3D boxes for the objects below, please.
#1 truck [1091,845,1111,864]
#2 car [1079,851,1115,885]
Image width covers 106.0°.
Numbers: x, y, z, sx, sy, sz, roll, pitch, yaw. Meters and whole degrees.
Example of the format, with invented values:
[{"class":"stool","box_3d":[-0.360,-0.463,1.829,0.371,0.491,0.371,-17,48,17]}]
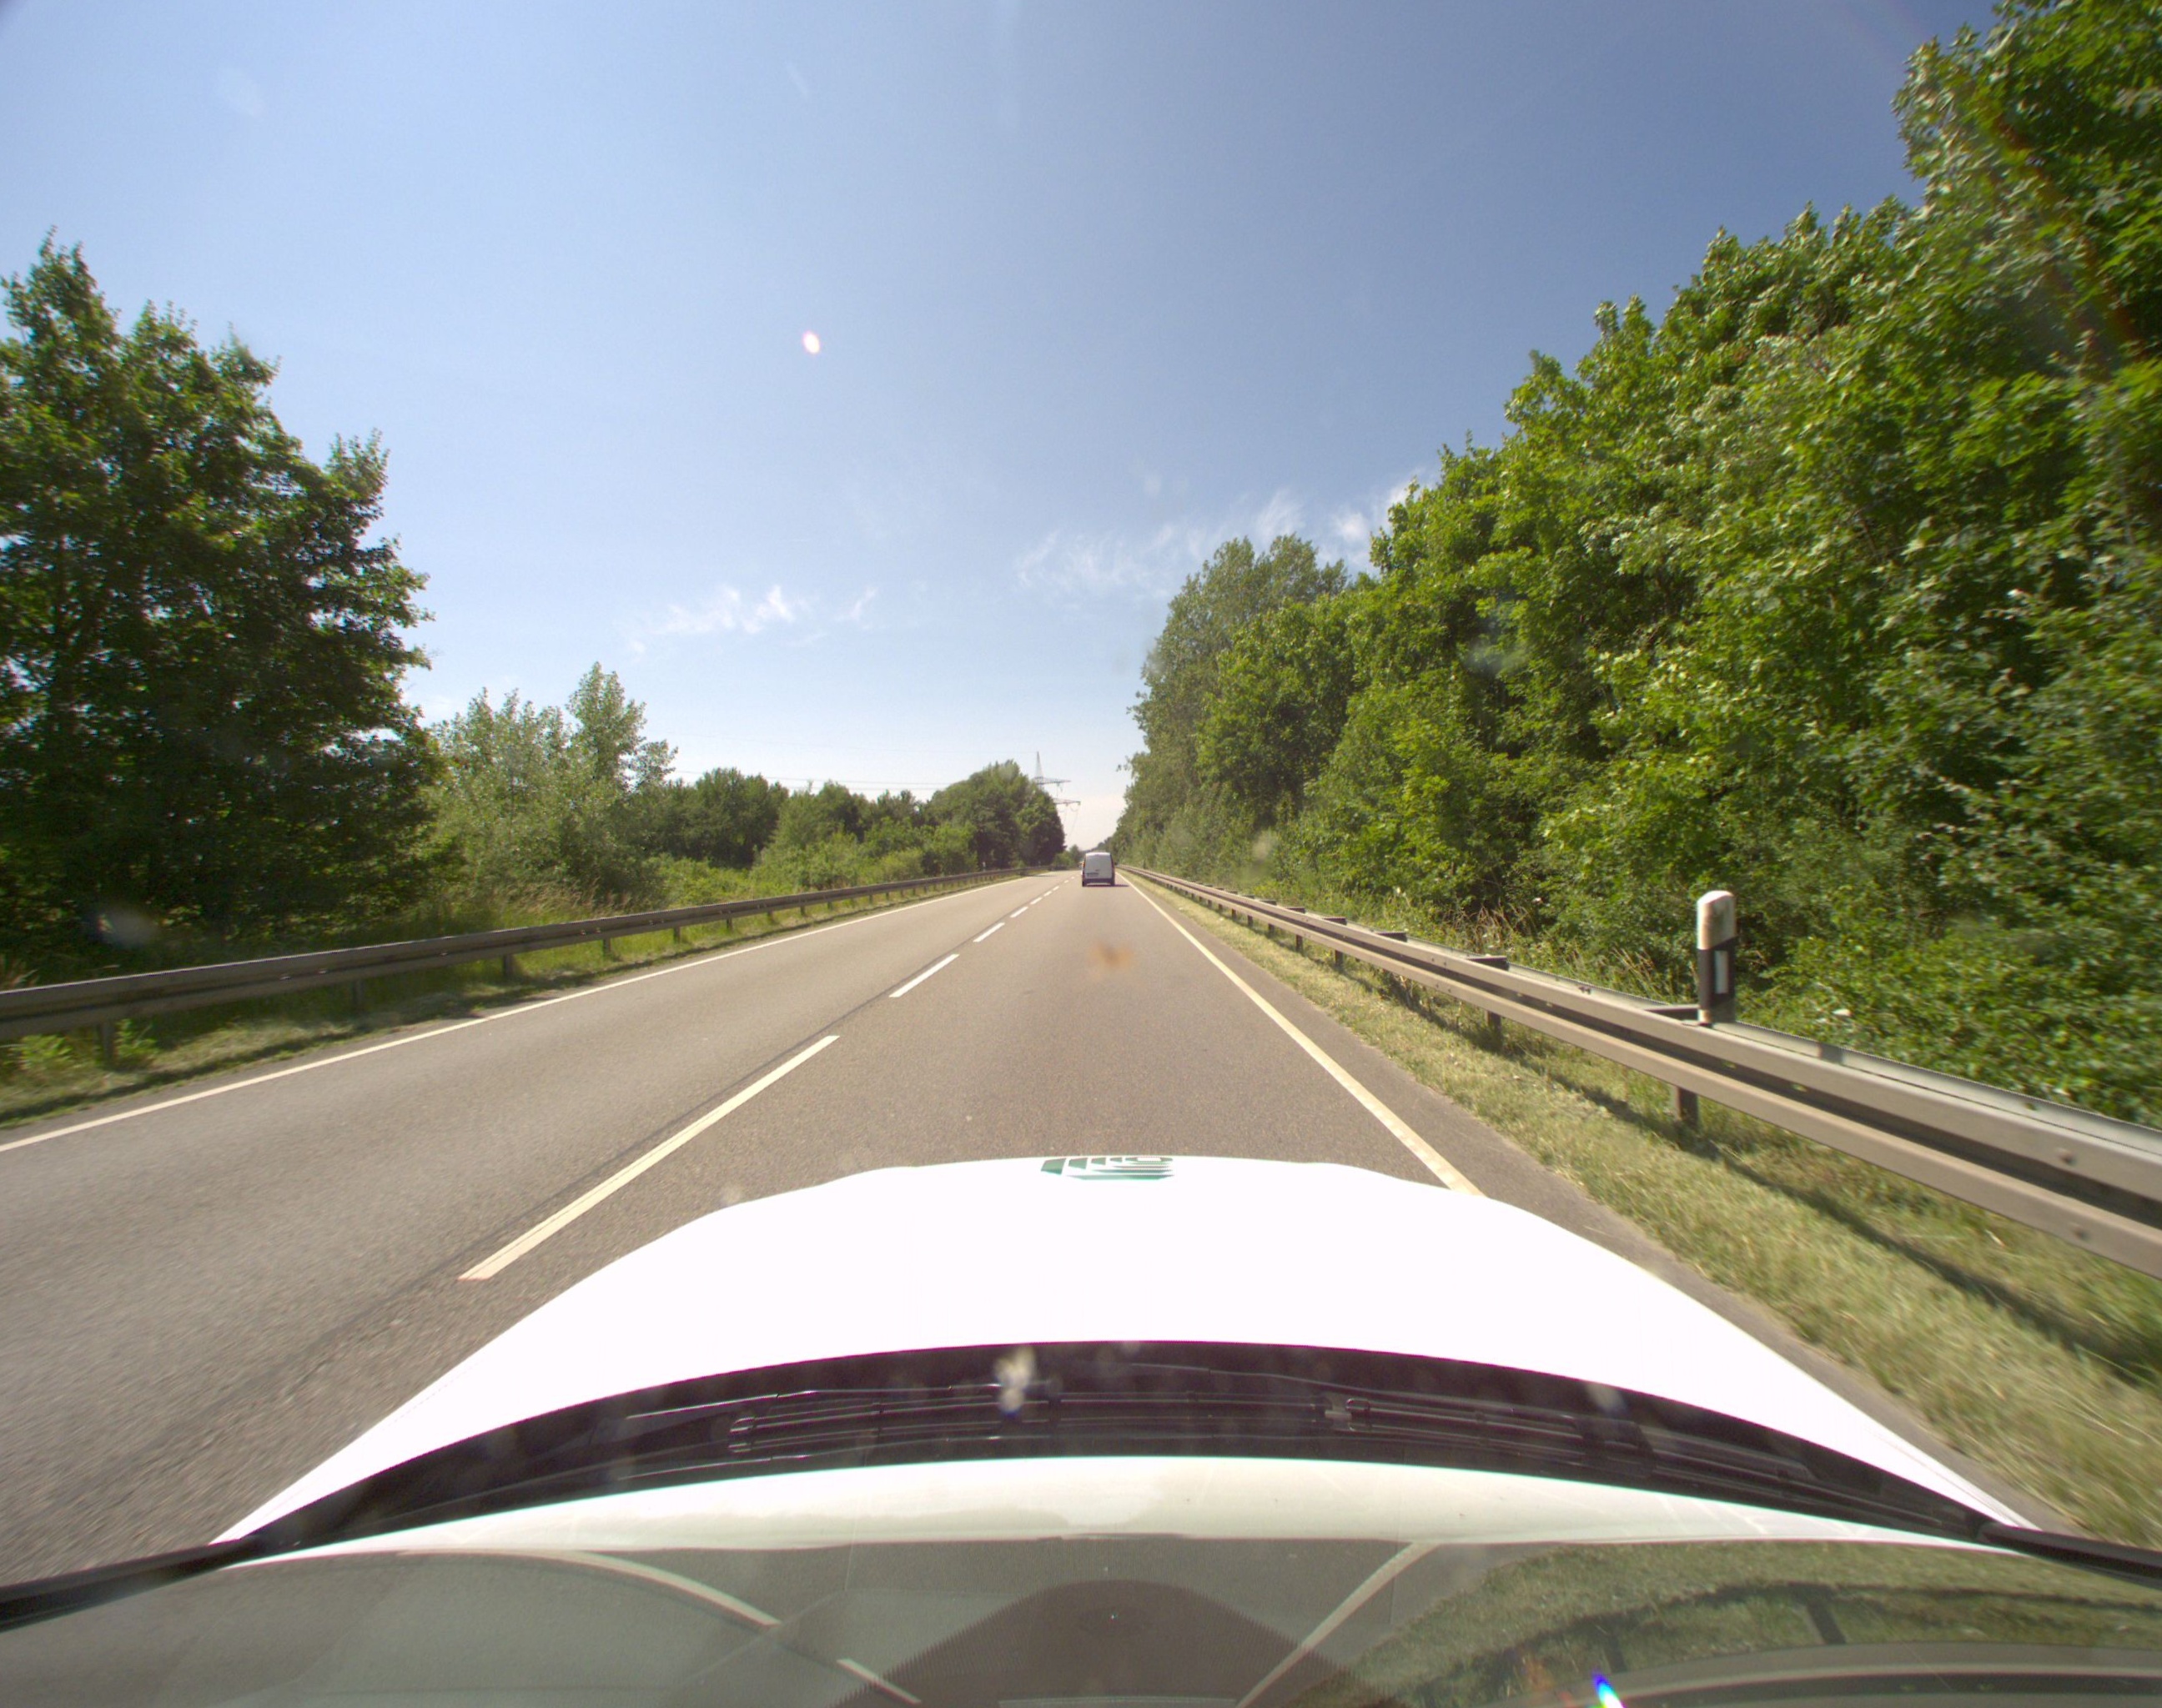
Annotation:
[{"class":"truck","box_3d":[3.415,0.122,142.259,3.285,3.172,14.407,1,0,1]},{"class":"car","box_3d":[0.862,0.731,43.932,1.868,1.741,4.001,0,0,1]}]
